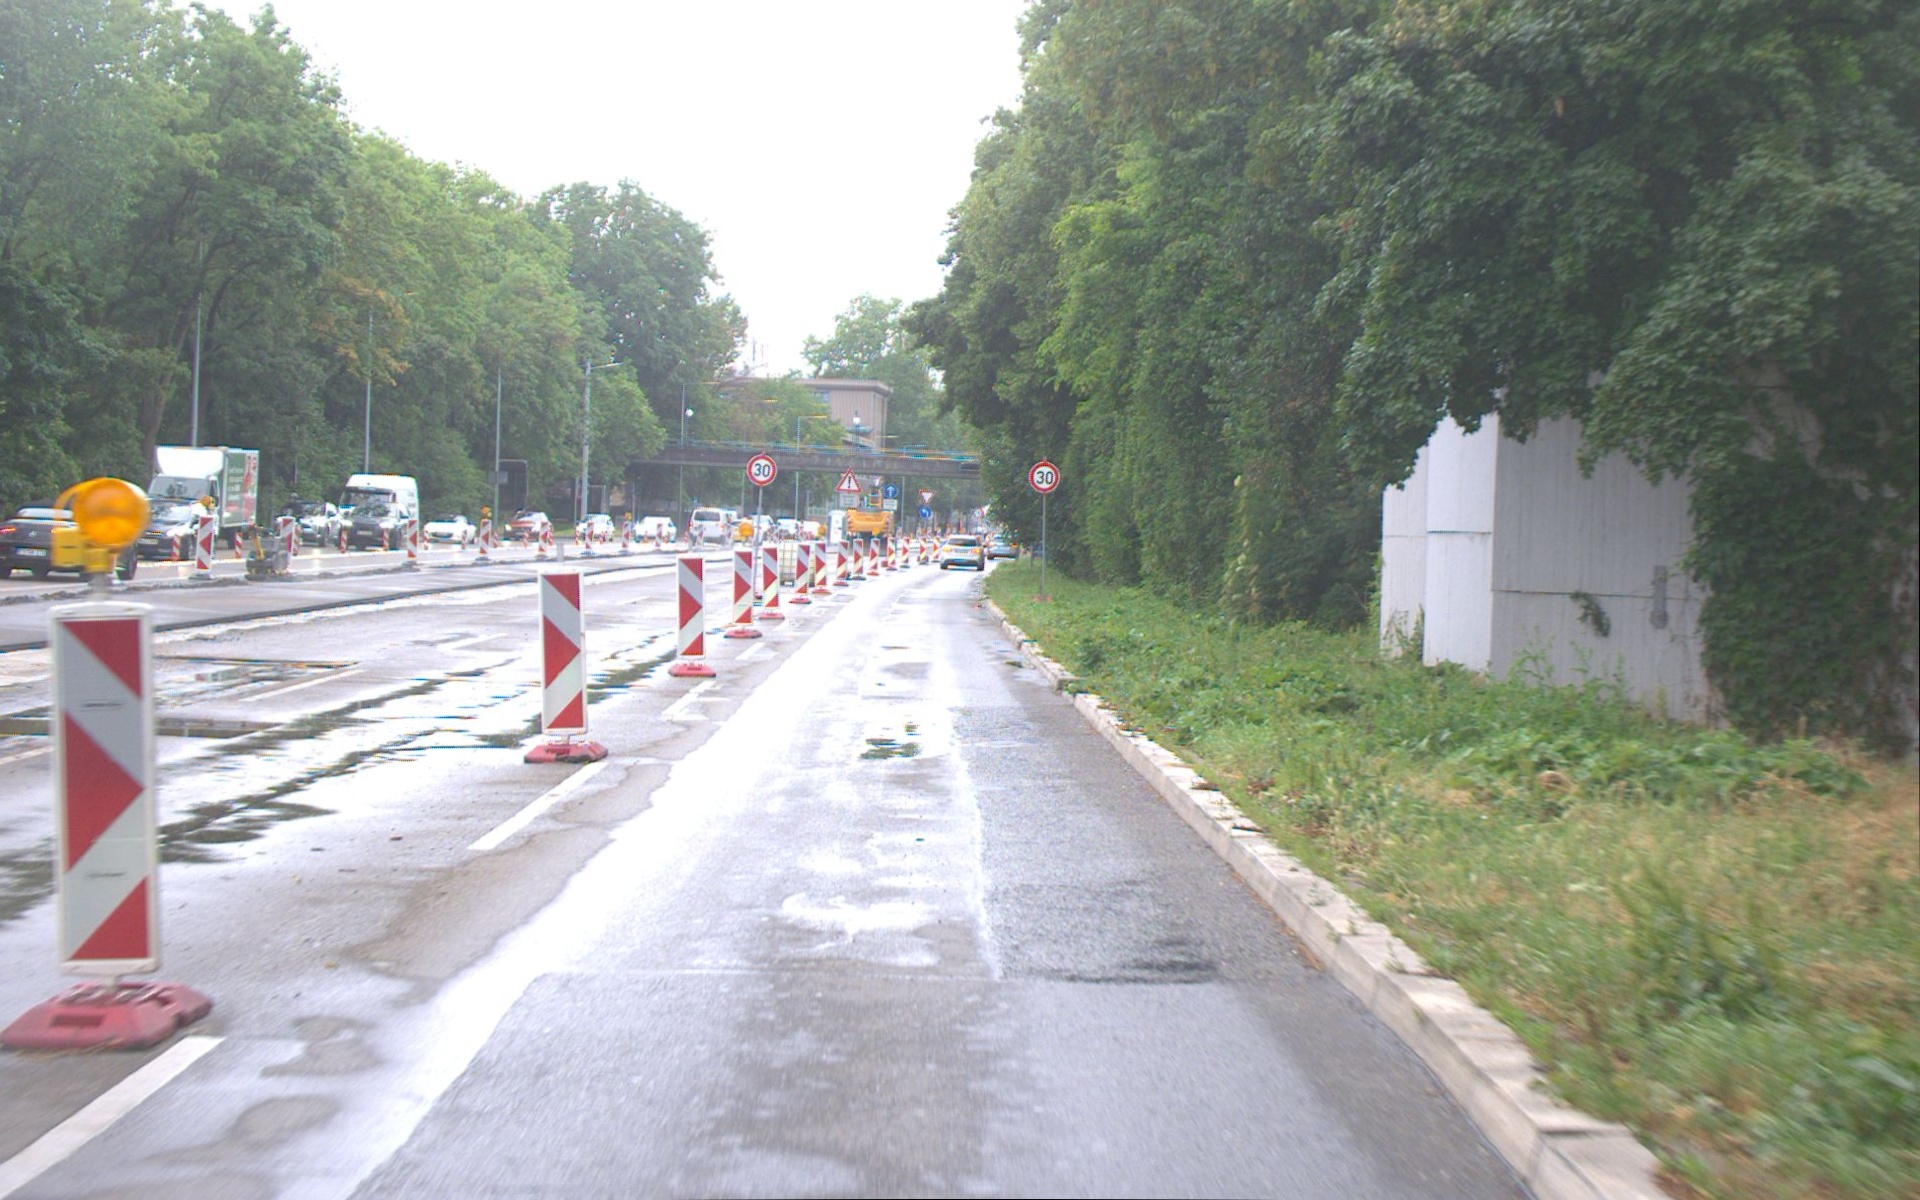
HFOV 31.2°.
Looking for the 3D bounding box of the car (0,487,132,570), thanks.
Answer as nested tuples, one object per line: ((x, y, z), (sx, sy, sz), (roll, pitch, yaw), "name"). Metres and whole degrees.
((-16.211, -1.303, 61.941), (1.607, 1.399, 4.041), (2, 1, 0), "car")

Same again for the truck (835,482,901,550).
((-4.959, -4.604, 188.649), (3.259, 3.485, 13.871), (2, 1, 0), "truck")

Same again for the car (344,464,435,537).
((-21.274, -3.712, 128.471), (2.099, 2.571, 6.854), (2, 1, 1), "car")

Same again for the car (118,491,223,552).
((-19.383, -1.944, 84.566), (1.670, 1.411, 4.321), (2, 1, -1), "car")

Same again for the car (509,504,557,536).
((-20.456, -3.835, 164.817), (1.670, 1.480, 4.320), (2, 1, 1), "car")

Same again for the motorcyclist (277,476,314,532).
((-18.985, -2.742, 98.205), (0.828, 1.559, 0.927), (3, 1, -1), "motorcyclist")

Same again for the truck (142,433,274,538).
((-22.295, -3.379, 102.222), (2.246, 2.930, 6.935), (2, 1, 1), "truck")

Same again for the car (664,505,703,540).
((-15.078, -4.225, 187.482), (1.670, 1.802, 4.320), (2, 1, 1), "car")

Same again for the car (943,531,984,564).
((0.149, -2.225, 145.259), (1.697, 1.331, 3.491), (0, 1, 0), "car")

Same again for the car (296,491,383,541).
((-20.328, -2.752, 112.738), (1.960, 1.526, 4.437), (2, 1, 1), "car")

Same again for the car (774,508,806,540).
((-10.411, -4.668, 211.006), (1.670, 1.802, 4.321), (2, 3, 1), "car")

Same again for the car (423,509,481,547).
((-21.106, -3.003, 142.920), (1.670, 1.480, 4.320), (2, 1, 1), "car")
